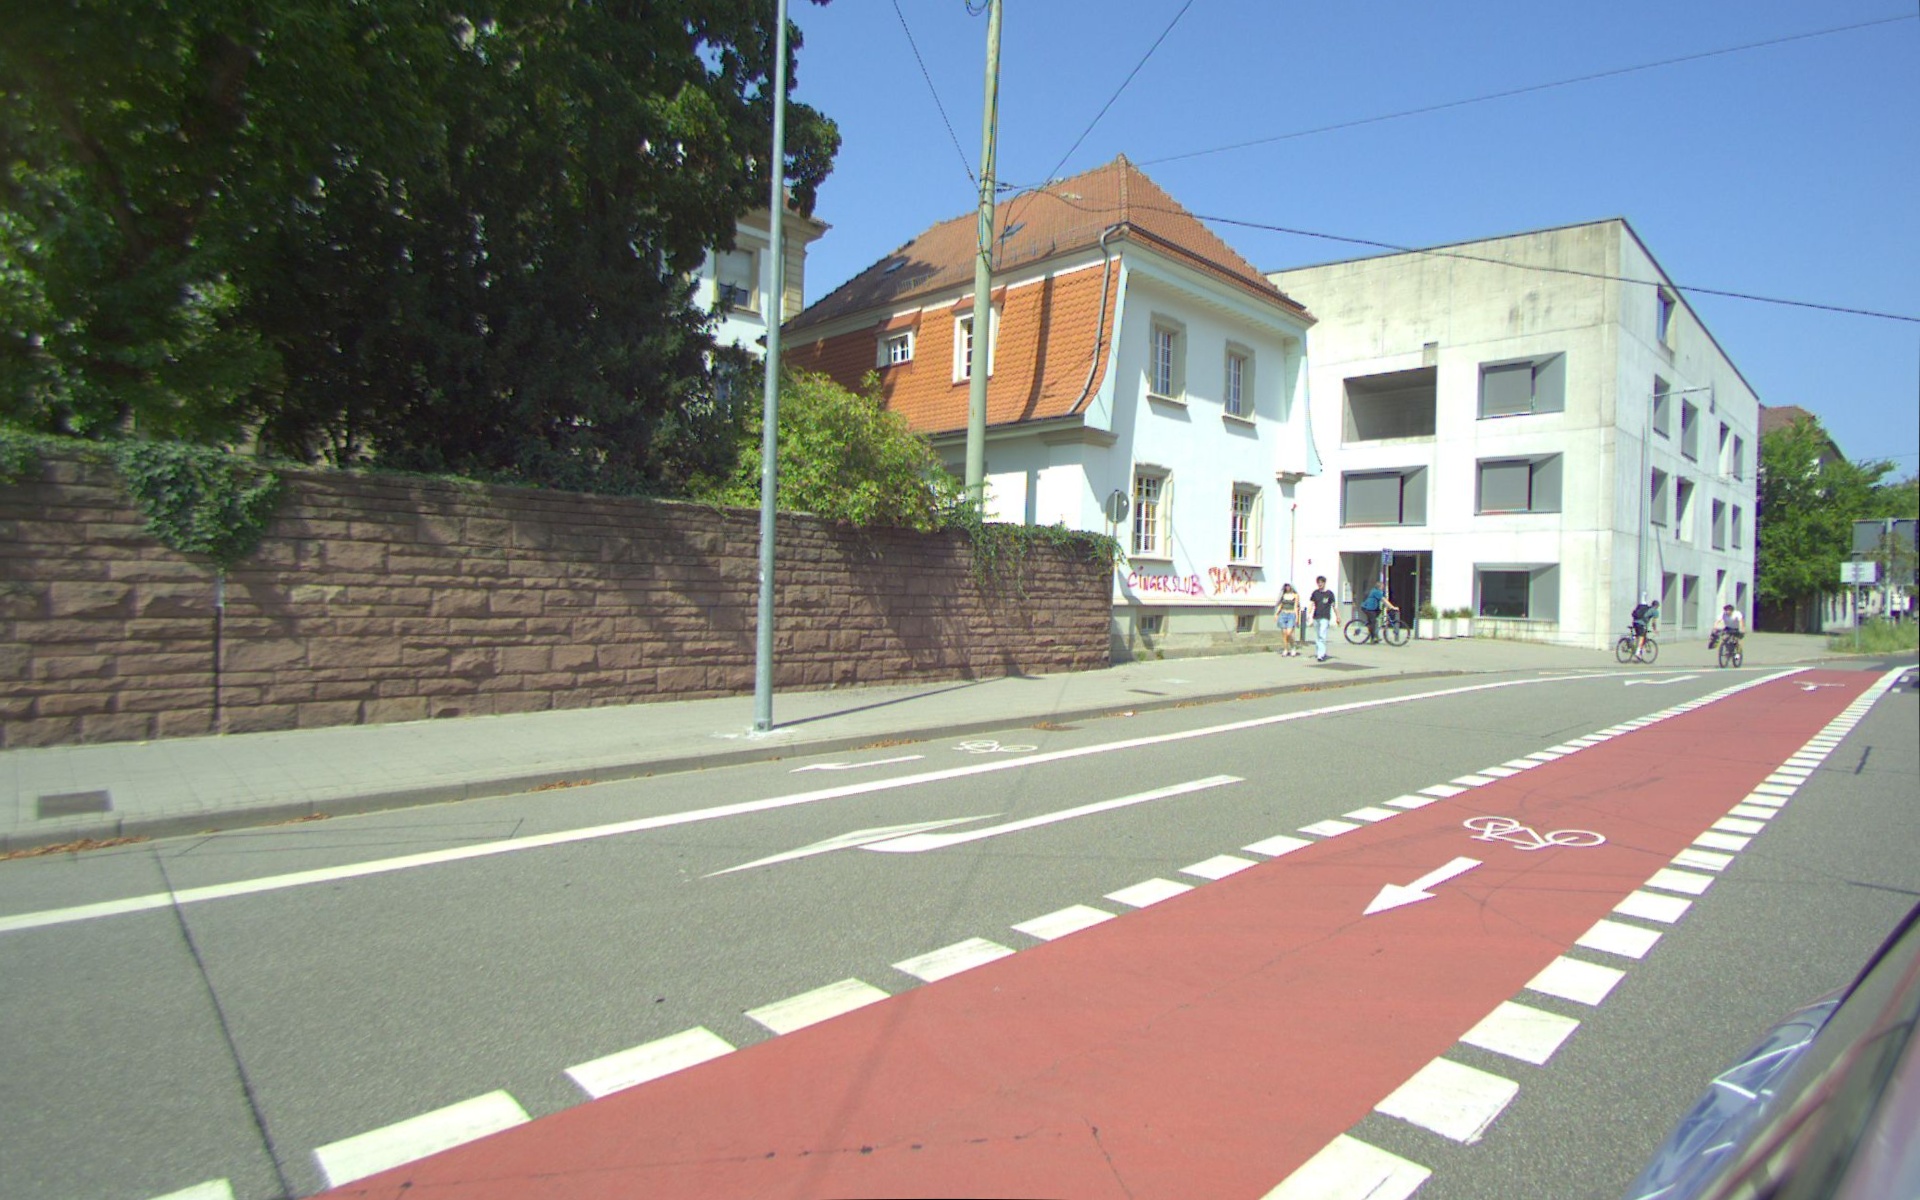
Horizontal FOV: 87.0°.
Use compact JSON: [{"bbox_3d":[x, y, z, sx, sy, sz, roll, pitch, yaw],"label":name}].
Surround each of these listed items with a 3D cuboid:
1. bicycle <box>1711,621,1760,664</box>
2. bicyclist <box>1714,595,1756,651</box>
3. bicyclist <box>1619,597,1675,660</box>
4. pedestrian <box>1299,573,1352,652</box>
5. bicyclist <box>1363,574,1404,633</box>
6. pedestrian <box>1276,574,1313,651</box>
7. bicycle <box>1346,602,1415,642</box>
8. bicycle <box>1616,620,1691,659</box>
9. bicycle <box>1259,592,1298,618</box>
[{"bbox_3d":[20.614,1.111,26.881,2.196,1.062,0.739,1,0,-45],"label":"bicycle"},{"bbox_3d":[20.544,0.598,26.824,0.946,1.429,0.745,1,0,-44],"label":"bicyclist"},{"bbox_3d":[18.688,0.766,27.552,0.973,1.617,0.629,3,2,-4],"label":"bicyclist"},{"bbox_3d":[7.971,0.269,22.069,0.864,1.687,0.728,1,0,-42],"label":"pedestrian"},{"bbox_3d":[11.868,0.084,28.389,0.891,1.558,0.625,4,2,16],"label":"bicyclist"},{"bbox_3d":[7.486,0.264,22.631,0.618,1.687,0.479,1,0,45],"label":"pedestrian"},{"bbox_3d":[11.790,0.608,28.405,1.688,1.012,0.613,3,1,16],"label":"bicycle"},{"bbox_3d":[18.874,1.061,27.557,1.677,1.012,0.616,0,0,-5],"label":"bicycle"},{"bbox_3d":[12.286,0.181,39.071,1.654,0.966,0.619,-2,2,-38],"label":"bicycle"}]
